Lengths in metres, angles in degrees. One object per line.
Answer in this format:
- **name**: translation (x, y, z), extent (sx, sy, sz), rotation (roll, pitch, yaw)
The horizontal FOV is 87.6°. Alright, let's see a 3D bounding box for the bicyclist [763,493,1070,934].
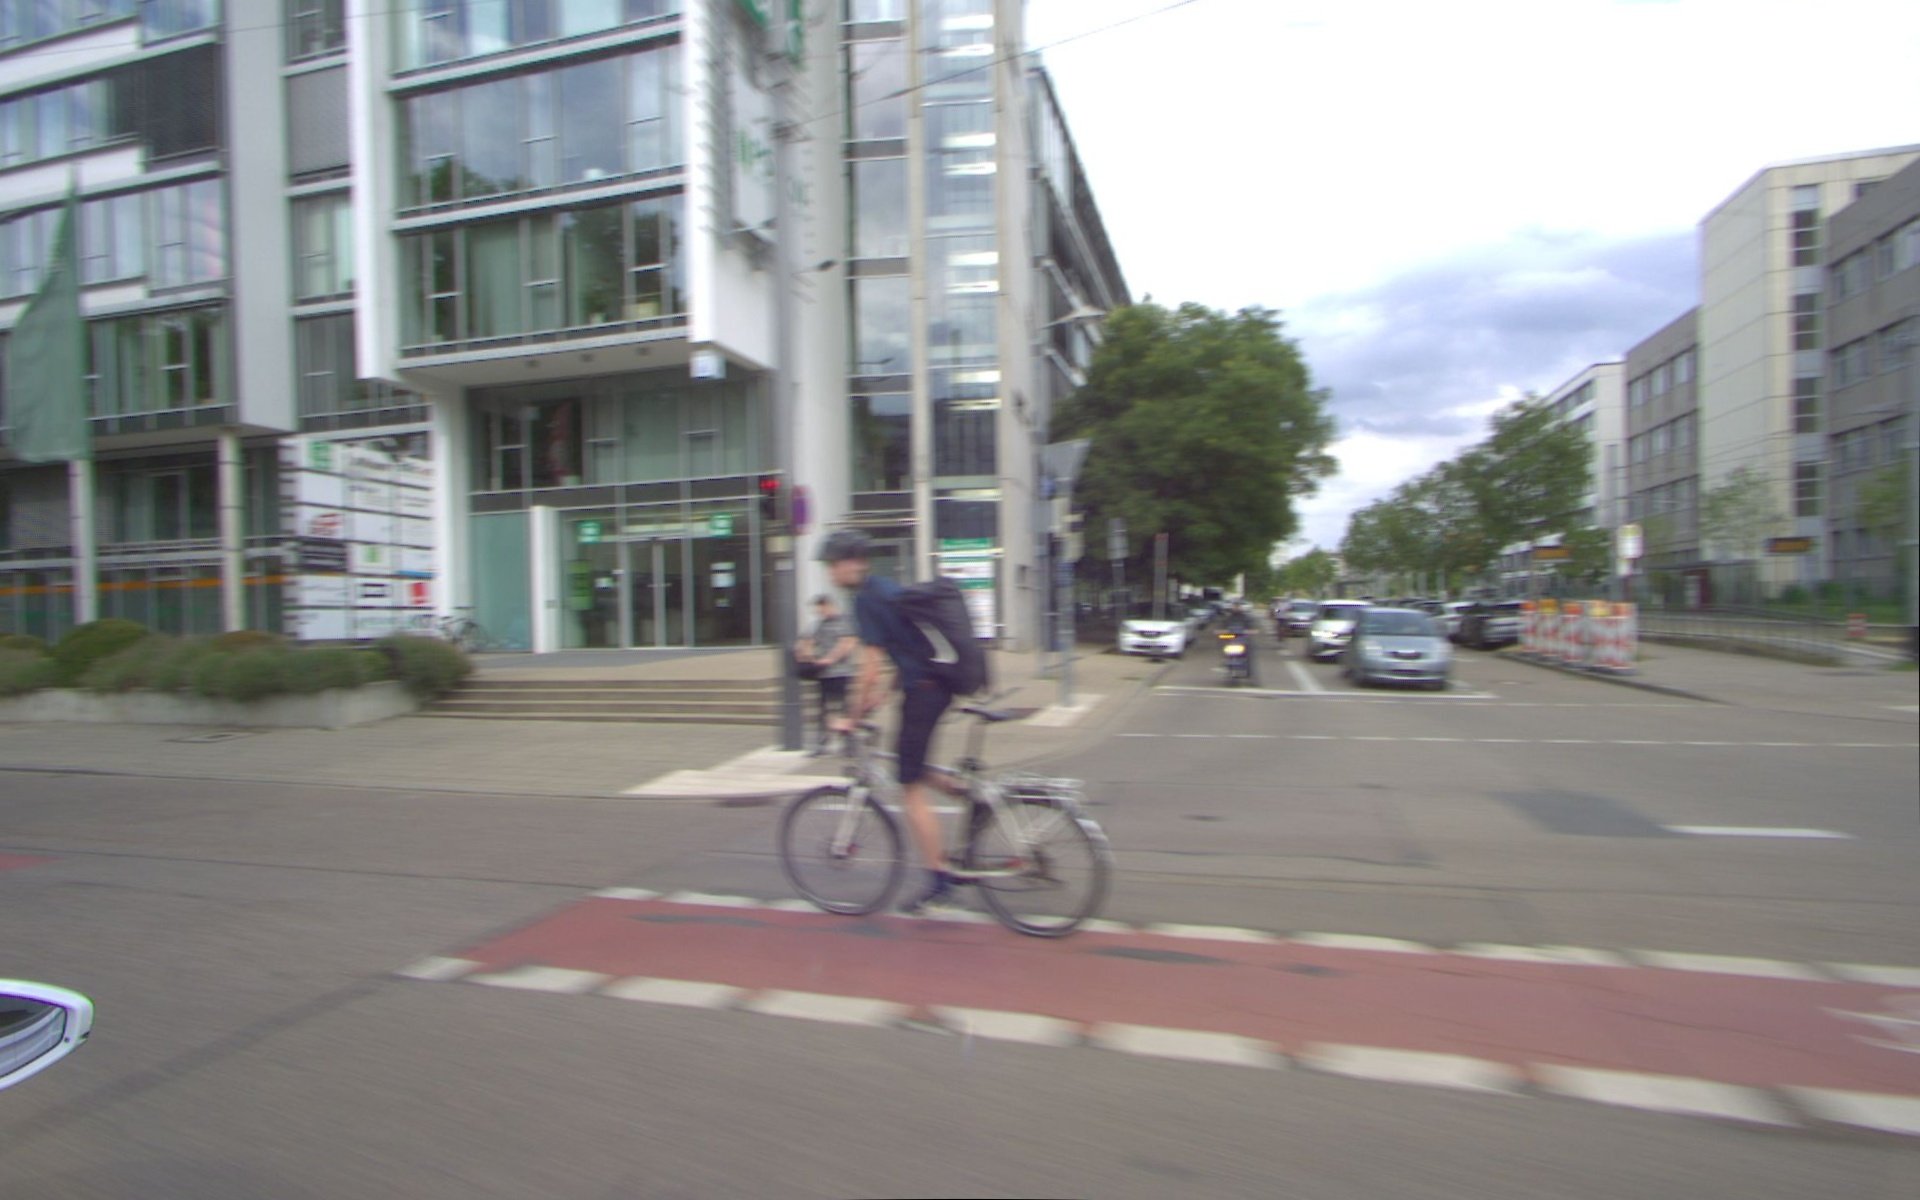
- **bicyclist**: translation (-0.215, 0.478, 4.793), extent (1.217, 1.809, 0.793), rotation (-1, 0, 38)

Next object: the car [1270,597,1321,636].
- **car**: translation (14.790, 0.679, 44.294), extent (1.874, 1.606, 4.176), rotation (1, 0, 15)

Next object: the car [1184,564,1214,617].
- **car**: translation (17.077, -0.673, 71.652), extent (1.955, 3.685, 4.508), rotation (1, 1, 12)

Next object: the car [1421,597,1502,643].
- **car**: translation (18.952, 0.739, 38.025), extent (1.678, 1.627, 4.076), rotation (-1, 0, 11)

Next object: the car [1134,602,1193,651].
- **car**: translation (7.300, 0.890, 35.727), extent (1.802, 1.577, 4.211), rotation (1, 0, 15)

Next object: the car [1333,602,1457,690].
- **car**: translation (8.584, 0.827, 20.103), extent (1.642, 1.527, 4.229), rotation (1, 0, 15)

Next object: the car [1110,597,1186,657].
- **car**: translation (5.471, 0.706, 28.769), extent (1.802, 1.577, 4.211), rotation (1, 0, 15)

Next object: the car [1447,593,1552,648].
- **car**: translation (17.521, 0.652, 32.743), extent (1.850, 1.650, 4.084), rotation (-1, 0, 11)

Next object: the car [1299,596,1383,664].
- **car**: translation (10.312, 0.751, 27.363), extent (1.689, 1.682, 4.128), rotation (1, 0, 15)

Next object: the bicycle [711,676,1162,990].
- **bicycle**: translation (-0.182, 0.961, 4.777), extent (2.104, 1.101, 0.797), rotation (-2, 0, 37)

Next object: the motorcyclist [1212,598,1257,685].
- **motorcyclist**: translation (5.301, 0.783, 19.347), extent (0.807, 1.638, 0.881), rotation (0, 1, 15)

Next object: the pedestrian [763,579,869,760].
- **pedestrian**: translation (-1.569, 0.737, 10.981), extent (0.822, 1.889, 0.763), rotation (-1, 0, 24)

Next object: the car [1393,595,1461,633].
- **car**: translation (21.243, 0.614, 45.710), extent (1.839, 1.627, 4.210), rotation (-1, 0, 11)

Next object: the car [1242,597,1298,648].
- **car**: translation (10.851, 0.744, 35.244), extent (1.689, 1.682, 4.128), rotation (1, 0, 15)

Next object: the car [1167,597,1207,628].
- **car**: translation (12.104, 0.651, 53.520), extent (1.955, 1.577, 4.508), rotation (1, 0, 12)

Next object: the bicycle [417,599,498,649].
- **bicycle**: translation (-12.412, 0.581, 24.815), extent (0.575, 1.192, 2.113), rotation (0, 0, 13)

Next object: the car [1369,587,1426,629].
- **car**: translation (22.124, 0.400, 50.798), extent (1.757, 2.013, 4.118), rotation (-1, 0, 11)

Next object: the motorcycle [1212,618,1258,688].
- **motorcycle**: translation (5.288, 0.974, 19.289), extent (0.813, 1.215, 2.499), rotation (0, 0, 15)
